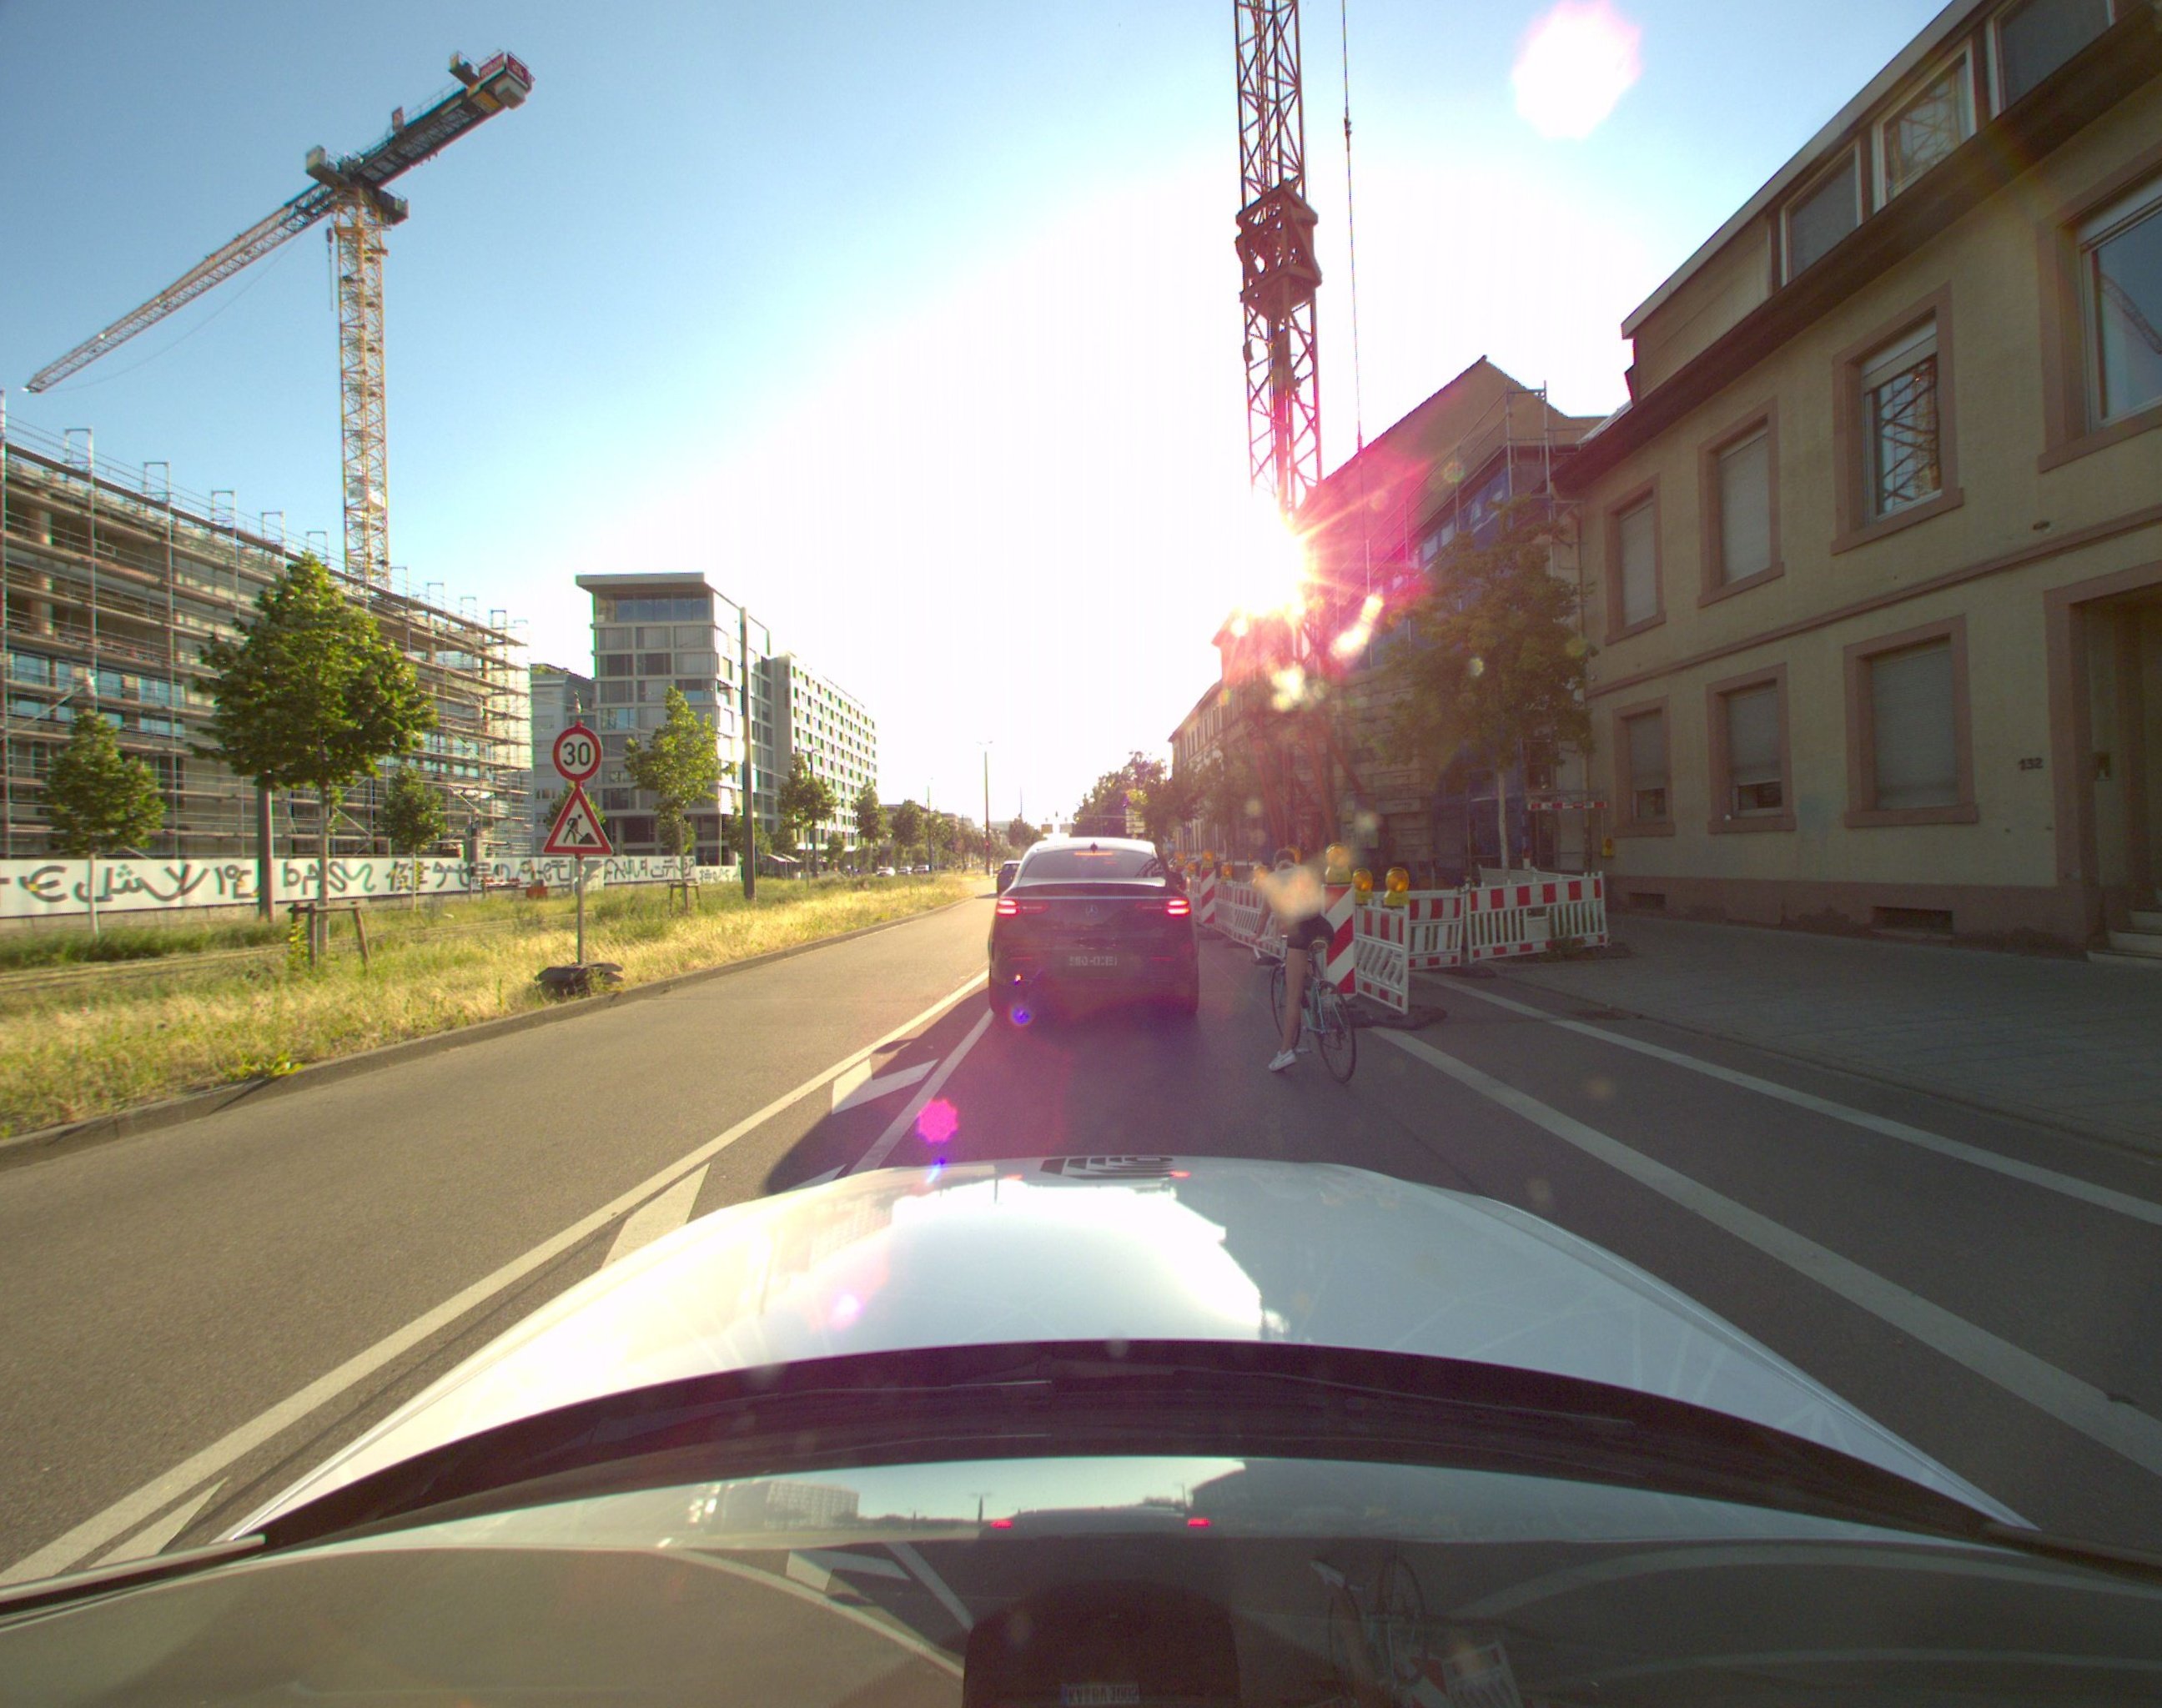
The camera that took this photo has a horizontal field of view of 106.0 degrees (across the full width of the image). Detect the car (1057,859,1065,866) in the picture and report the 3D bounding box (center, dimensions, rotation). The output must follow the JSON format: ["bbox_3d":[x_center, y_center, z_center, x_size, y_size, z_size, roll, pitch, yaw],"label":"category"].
[{"bbox_3d":[-4.544,1.900,184.330,1.703,1.442,3.581,0,-1,0],"label":"car"}]

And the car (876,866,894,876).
[{"bbox_3d":[-28.022,2.393,116.364,1.703,1.442,3.581,0,-1,0],"label":"car"}]

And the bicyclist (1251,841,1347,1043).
[{"bbox_3d":[1.579,0.613,5.979,0.521,1.395,0.614,0,-1,-1],"label":"bicyclist"}]

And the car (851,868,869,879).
[{"bbox_3d":[-32.185,2.826,118.519,1.703,1.442,3.581,0,-1,0],"label":"car"}]

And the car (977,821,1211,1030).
[{"bbox_3d":[0.172,0.628,8.967,1.986,1.772,4.001,0,-1,2],"label":"car"}]

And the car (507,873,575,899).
[{"bbox_3d":[-32.558,1.893,49.213,1.703,1.442,3.581,0,-1,0],"label":"car"}]

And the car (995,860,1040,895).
[{"bbox_3d":[-2.725,0.986,35.636,1.703,1.442,3.581,0,-1,0],"label":"car"}]

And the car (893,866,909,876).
[{"bbox_3d":[-28.104,2.611,127.018,1.703,1.442,3.581,0,-1,0],"label":"car"}]

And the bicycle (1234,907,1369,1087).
[{"bbox_3d":[1.582,0.976,6.100,0.511,1.052,1.724,0,-1,-1],"label":"bicycle"}]

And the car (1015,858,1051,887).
[{"bbox_3d":[-2.545,0.971,43.468,1.703,1.442,3.581,0,-1,0],"label":"car"}]

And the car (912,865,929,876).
[{"bbox_3d":[-22.771,2.345,115.557,1.703,1.442,3.581,0,-1,0],"label":"car"}]
